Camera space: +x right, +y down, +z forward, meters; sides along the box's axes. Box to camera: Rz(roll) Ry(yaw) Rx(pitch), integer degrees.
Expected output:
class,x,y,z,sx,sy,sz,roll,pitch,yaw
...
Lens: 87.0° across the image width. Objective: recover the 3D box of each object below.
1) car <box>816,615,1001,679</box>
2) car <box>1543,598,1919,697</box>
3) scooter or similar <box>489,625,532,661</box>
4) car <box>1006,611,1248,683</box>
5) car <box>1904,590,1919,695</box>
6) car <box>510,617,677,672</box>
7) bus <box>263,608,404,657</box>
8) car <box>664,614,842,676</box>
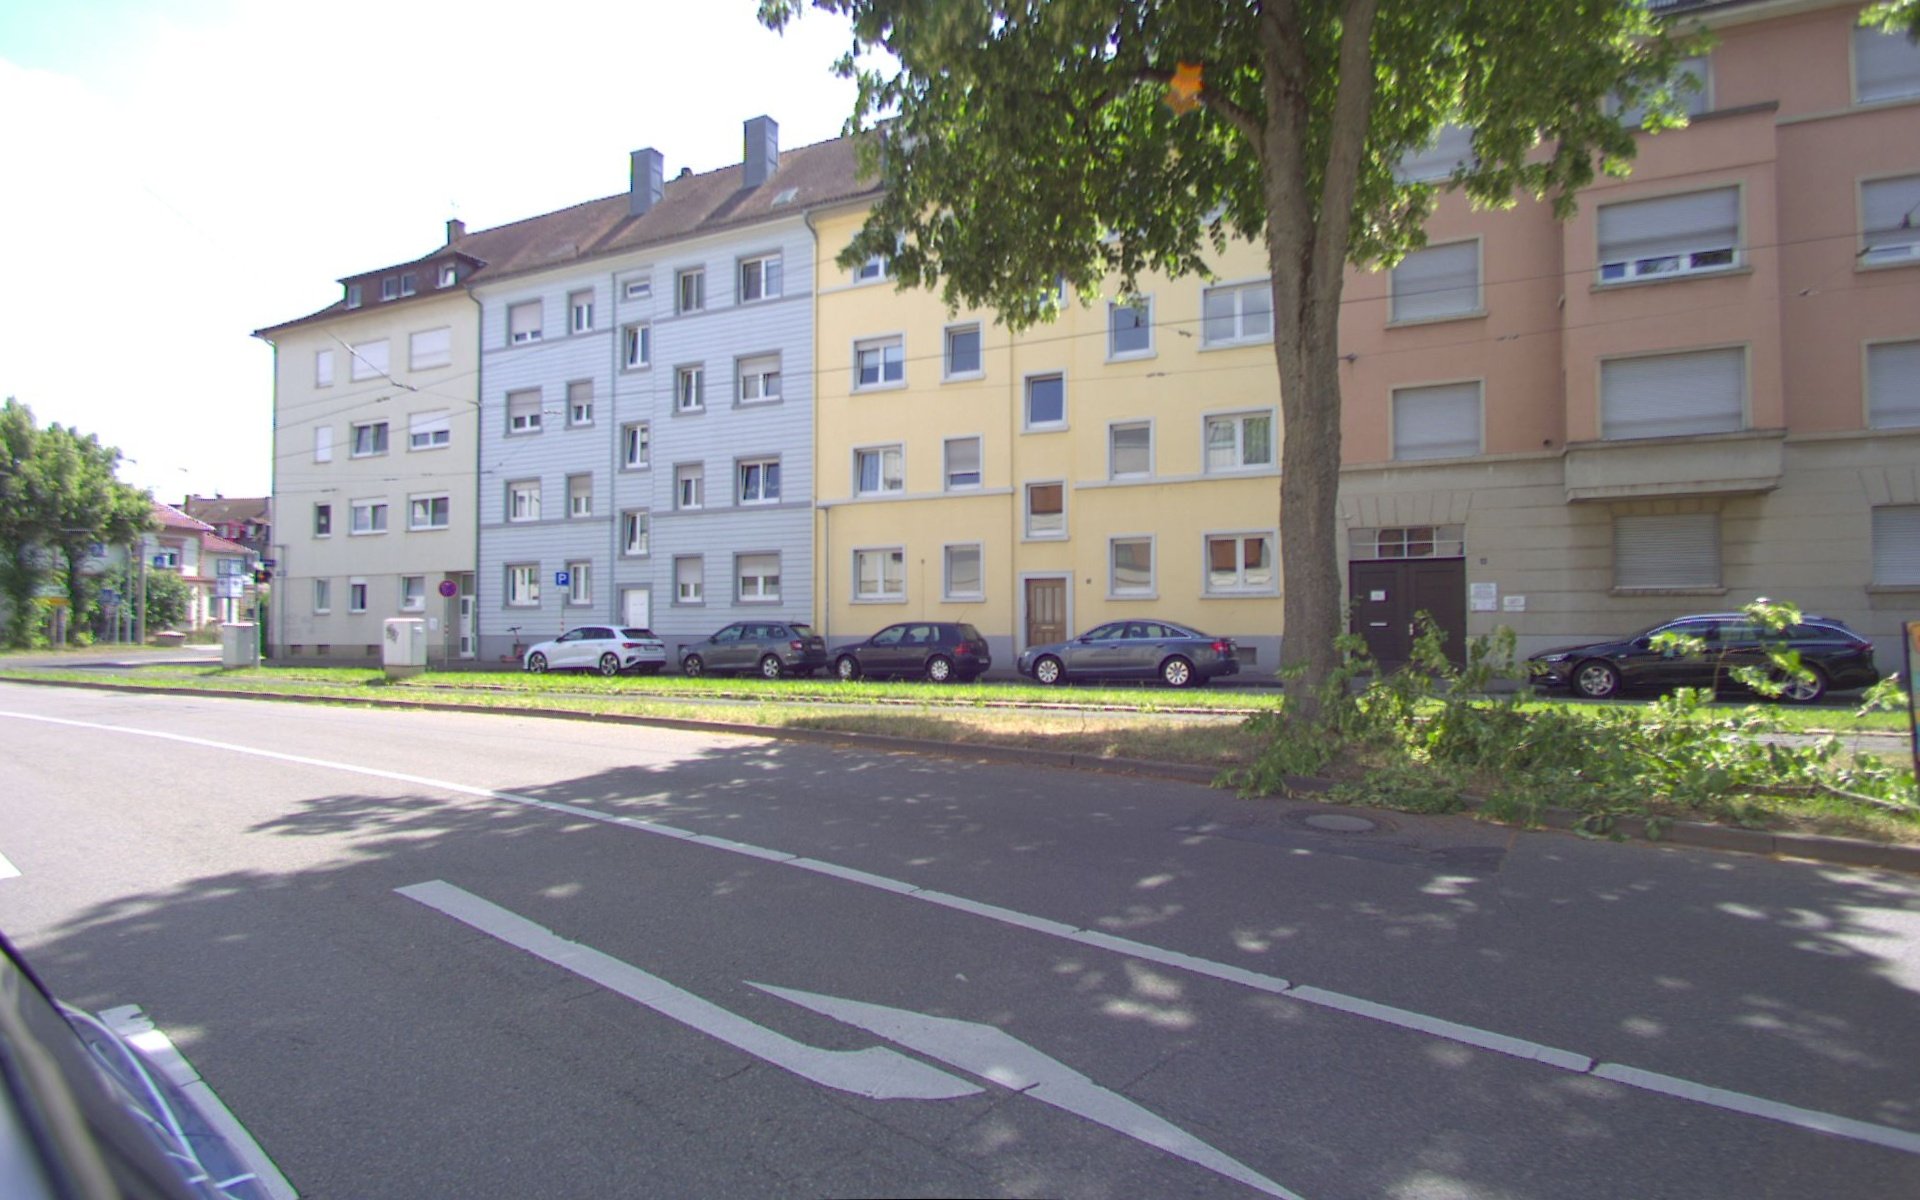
class,x,y,z,sx,sy,sz,roll,pitch,yaw
car,-1.244,1.129,24.343,4.120,1.411,1.820,-1,-3,26
car,12.864,0.810,17.303,4.837,1.502,1.917,-1,-3,26
scooter or similar,-15.466,1.474,34.824,1.314,1.232,0.634,-1,-1,26
car,3.572,1.015,21.854,4.839,1.408,1.916,-1,-3,27
car,17.318,0.637,15.225,4.120,1.698,1.826,-1,-3,26
car,-10.404,1.289,28.746,4.349,1.462,1.918,-1,-4,24
bus,-46.403,2.454,75.548,2.677,3.322,10.829,-1,-2,8
car,-5.444,1.192,26.643,4.299,1.516,1.918,-1,-3,24
